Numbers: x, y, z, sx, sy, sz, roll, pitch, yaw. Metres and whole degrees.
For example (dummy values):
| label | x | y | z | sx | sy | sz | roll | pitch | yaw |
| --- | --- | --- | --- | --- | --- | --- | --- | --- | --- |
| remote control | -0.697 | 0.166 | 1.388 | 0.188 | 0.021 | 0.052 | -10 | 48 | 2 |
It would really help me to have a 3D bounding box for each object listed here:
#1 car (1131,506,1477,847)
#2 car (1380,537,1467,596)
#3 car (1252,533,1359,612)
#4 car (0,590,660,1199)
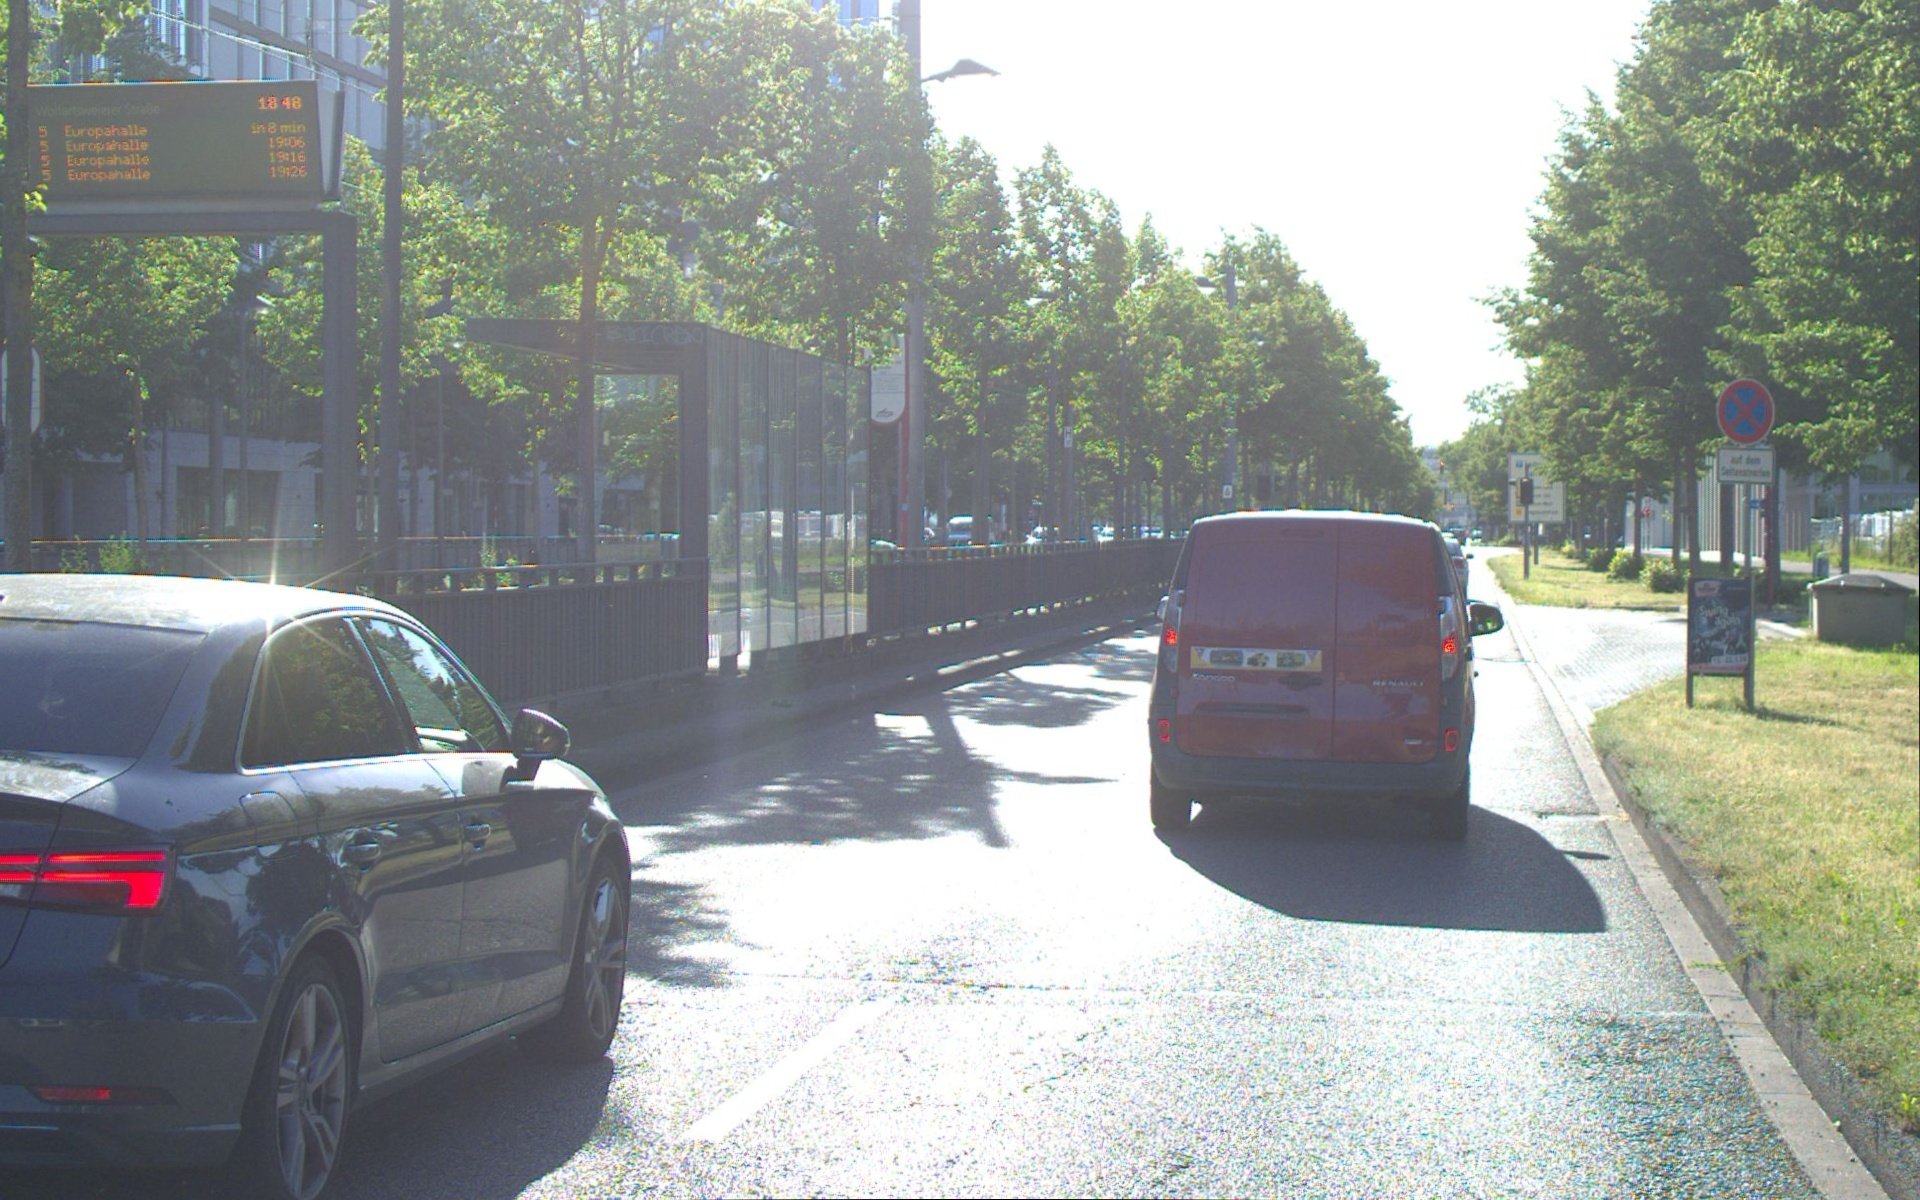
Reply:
| label | x | y | z | sx | sy | sz | roll | pitch | yaw |
| --- | --- | --- | --- | --- | --- | --- | --- | --- | --- |
| car | 2.036 | 0.369 | 20.167 | 1.798 | 1.771 | 3.999 | 1 | 1 | 6 |
| car | 10.894 | -0.804 | 81.058 | 1.943 | 1.343 | 3.999 | 0 | 1 | 6 |
| car | 6.526 | -0.531 | 64.782 | 1.943 | 1.436 | 3.999 | 0 | 1 | 6 |
| car | -2.084 | 0.674 | 8.486 | 1.721 | 1.362 | 4.144 | 1 | 0 | 9 |
